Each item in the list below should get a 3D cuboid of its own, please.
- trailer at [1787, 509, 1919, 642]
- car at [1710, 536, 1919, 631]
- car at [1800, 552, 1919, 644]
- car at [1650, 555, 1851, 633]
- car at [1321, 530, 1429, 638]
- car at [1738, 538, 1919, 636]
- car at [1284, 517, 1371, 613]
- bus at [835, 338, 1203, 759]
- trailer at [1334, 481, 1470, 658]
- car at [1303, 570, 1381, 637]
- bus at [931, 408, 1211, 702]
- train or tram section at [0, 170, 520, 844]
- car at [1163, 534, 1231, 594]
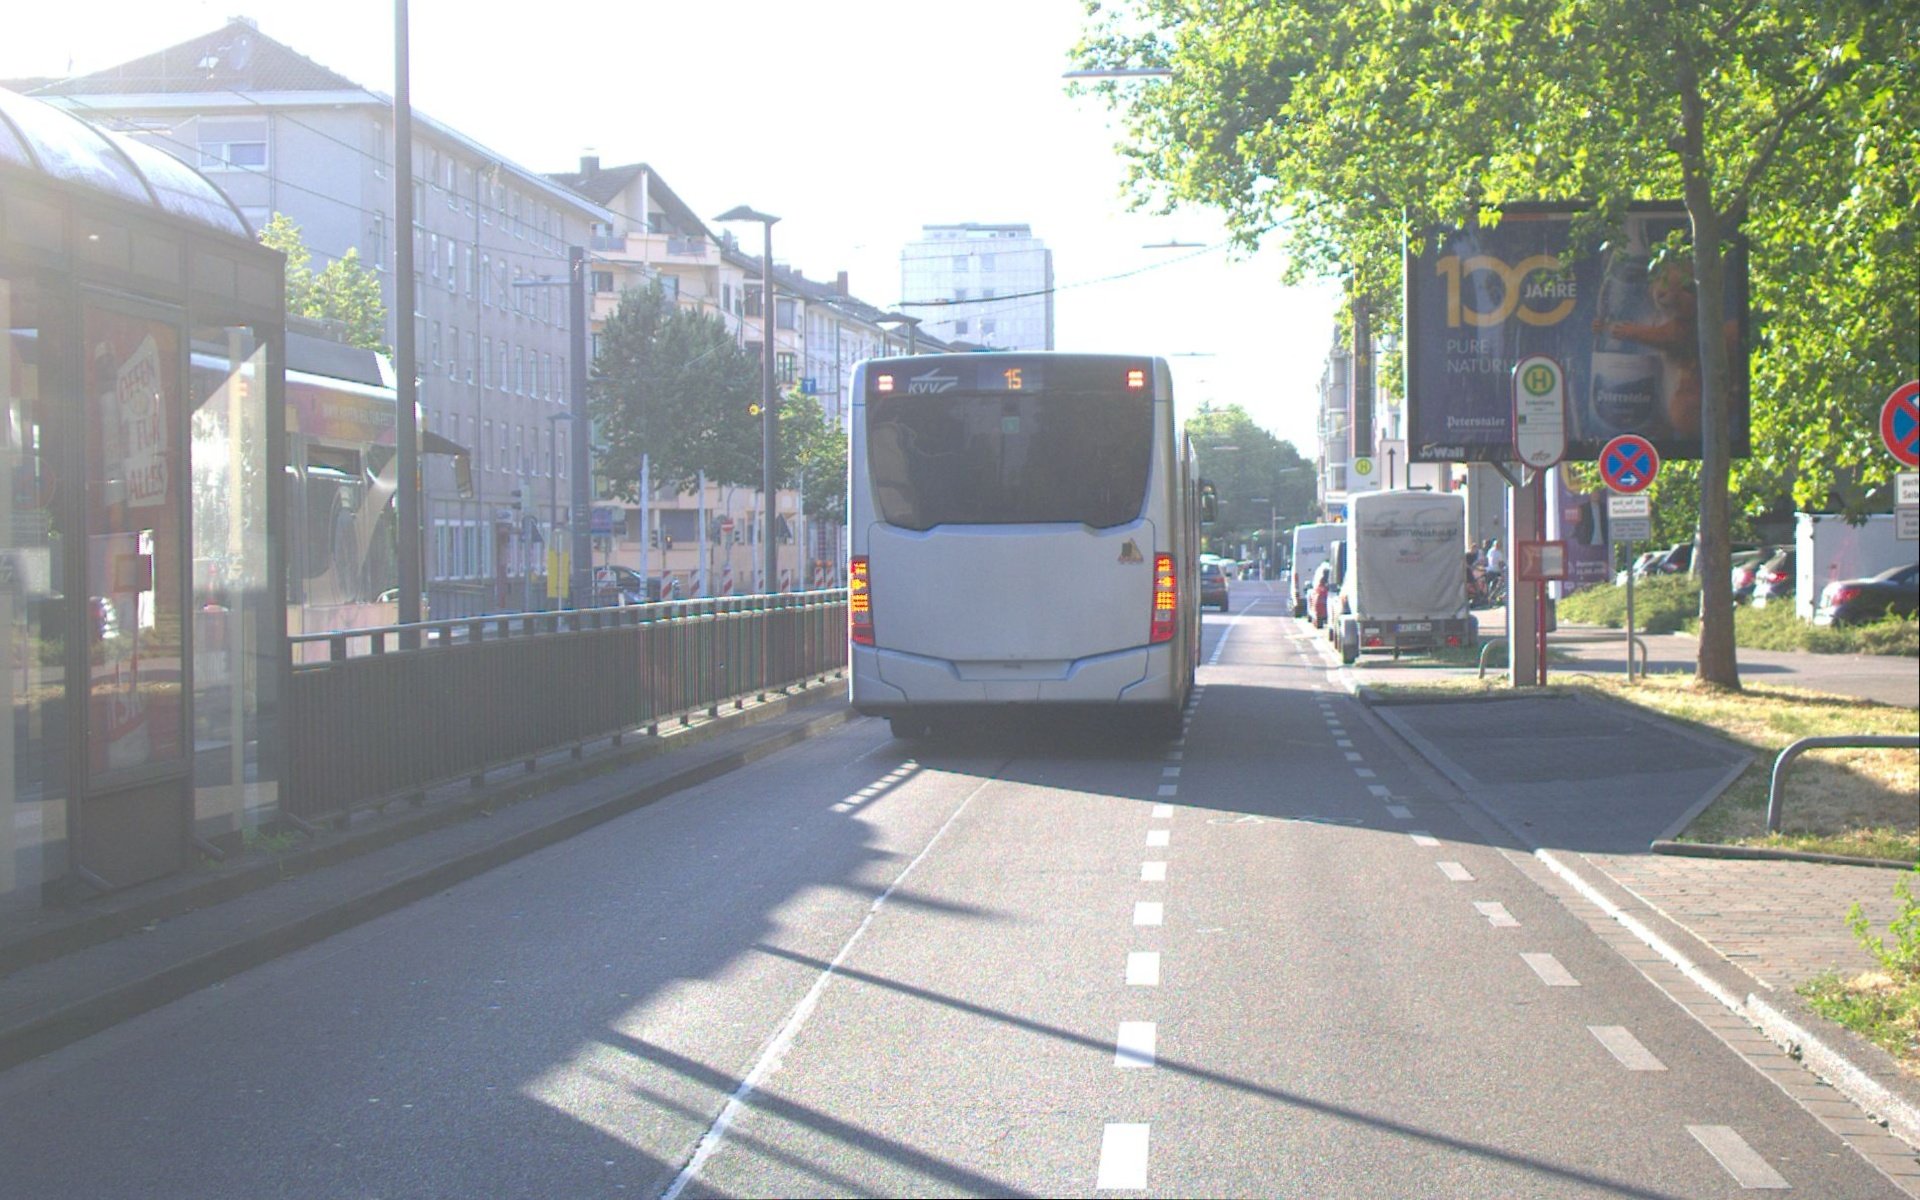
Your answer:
[{"bbox_3d":[14.671,-0.390,53.959,3.065,2.062,1.878,0,1,6],"label":"trailer"},{"bbox_3d":[15.542,-0.296,61.552,3.921,1.632,1.706,-1,0,5],"label":"car"},{"bbox_3d":[14.654,-0.050,51.265,3.921,1.331,1.706,-1,0,6],"label":"car"},{"bbox_3d":[16.731,-0.140,72.882,3.921,1.583,1.706,-1,0,5],"label":"car"},{"bbox_3d":[7.808,-0.304,64.969,1.847,1.950,4.543,-1,0,5],"label":"car"},{"bbox_3d":[15.522,-0.233,59.183,3.921,1.631,1.706,-1,0,5],"label":"car"},{"bbox_3d":[10.331,-0.983,96.980,2.282,2.618,5.308,-1,0,5],"label":"car"},{"bbox_3d":[0.726,-0.465,31.031,2.733,3.128,10.702,0,1,3],"label":"bus"},{"bbox_3d":[6.620,-0.464,51.750,1.833,2.549,3.318,-1,1,5],"label":"trailer"},{"bbox_3d":[8.966,0.062,80.923,1.671,1.458,3.933,-3,0,5],"label":"car"},{"bbox_3d":[1.499,-0.541,40.804,2.709,3.096,8.978,0,1,6],"label":"bus"},{"bbox_3d":[-5.800,-0.560,24.071,2.641,3.507,13.331,-1,1,5],"label":"train or tram section"},{"bbox_3d":[7.410,-1.140,107.187,1.994,1.809,3.999,0,1,6],"label":"car"}]
